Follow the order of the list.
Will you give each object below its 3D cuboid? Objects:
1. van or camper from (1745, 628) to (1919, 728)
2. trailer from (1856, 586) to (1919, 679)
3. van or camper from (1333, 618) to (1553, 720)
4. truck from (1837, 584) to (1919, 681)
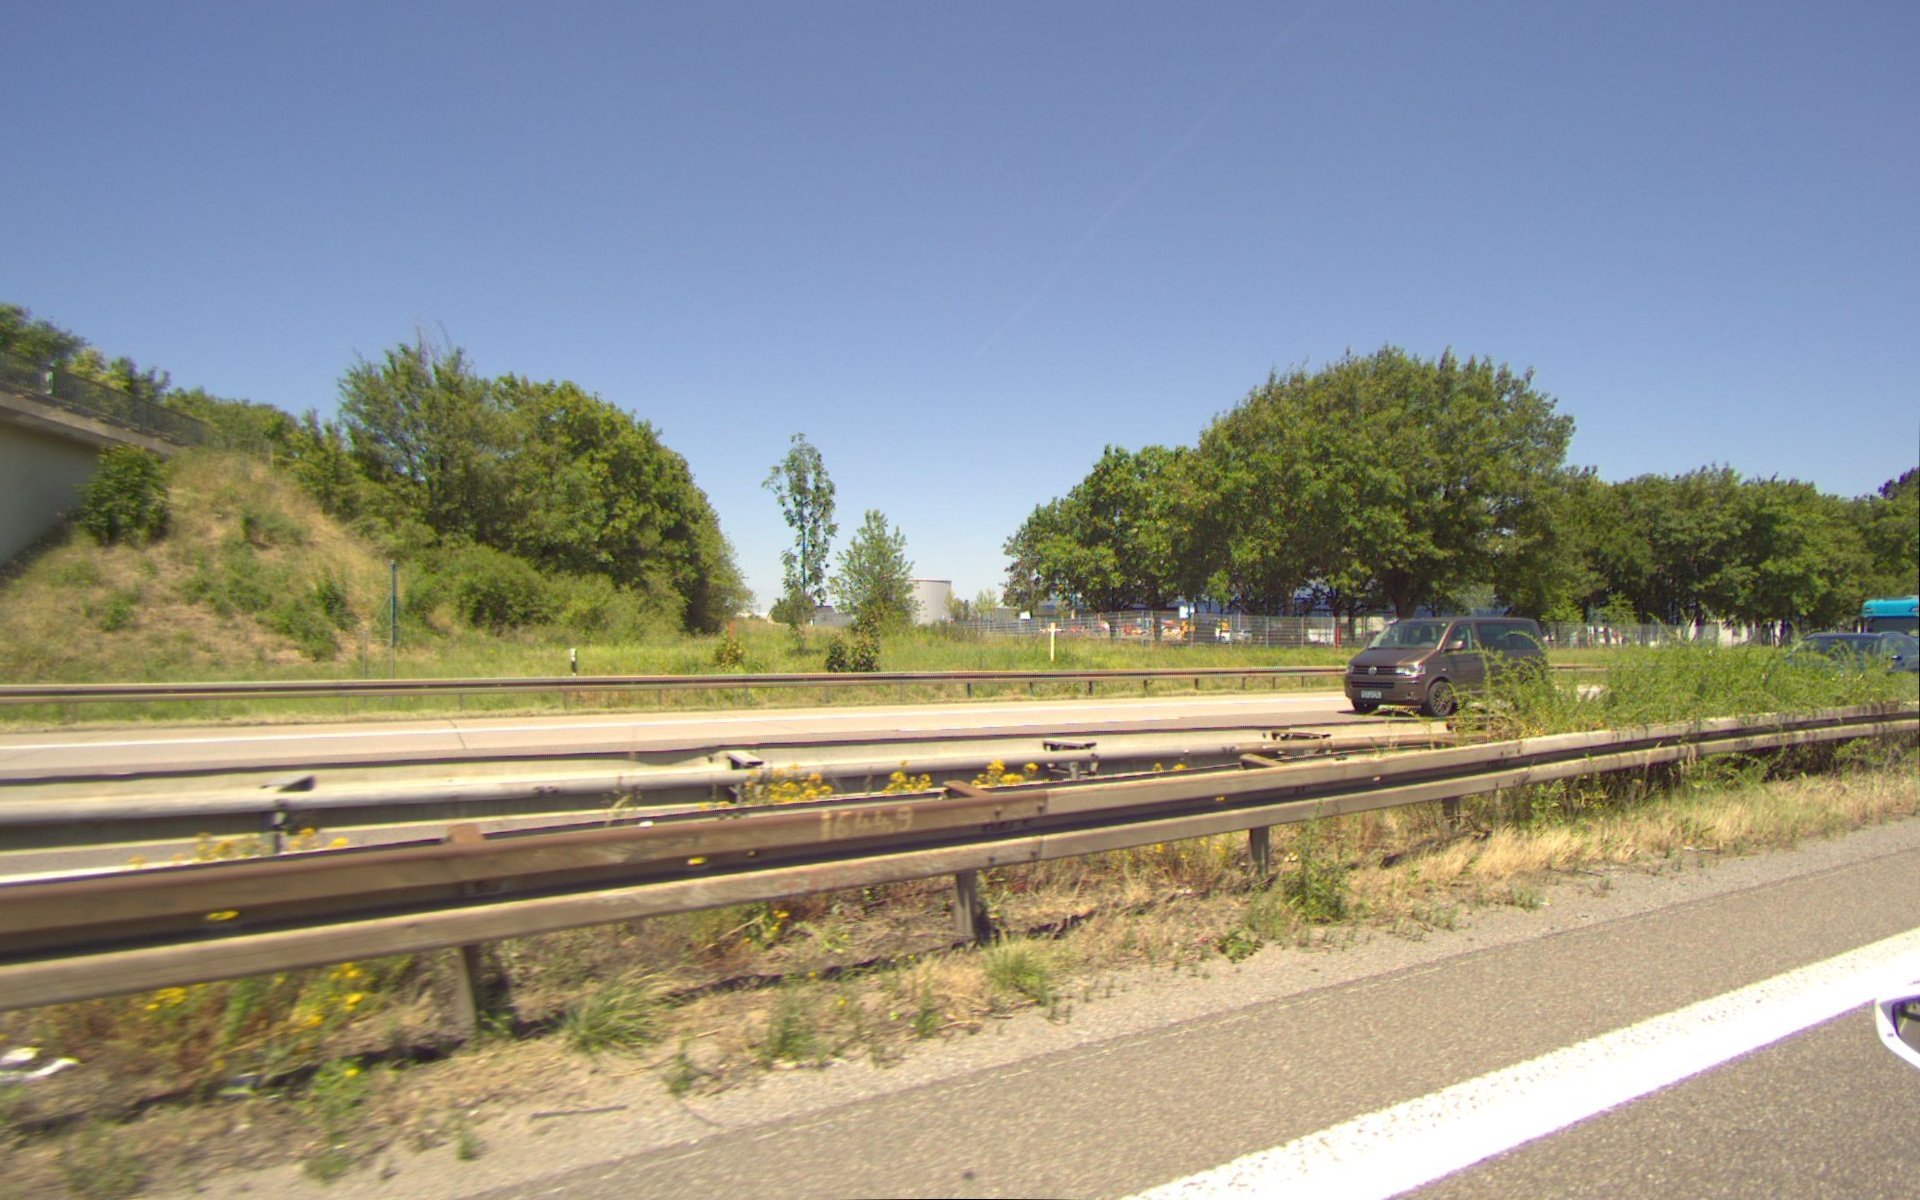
[{"bbox_3d":[17.935,1.523,20.454,3.953,1.793,1.703,2,0,-30],"label":"van or camper"},{"bbox_3d":[48.829,1.676,48.551,17.268,4.029,2.866,2,-4,-30],"label":"trailer"},{"bbox_3d":[9.992,1.386,20.740,4.404,1.894,1.984,2,-3,-31],"label":"van or camper"},{"bbox_3d":[42.651,1.522,44.893,7.285,4.026,2.866,2,-4,-30],"label":"truck"}]
